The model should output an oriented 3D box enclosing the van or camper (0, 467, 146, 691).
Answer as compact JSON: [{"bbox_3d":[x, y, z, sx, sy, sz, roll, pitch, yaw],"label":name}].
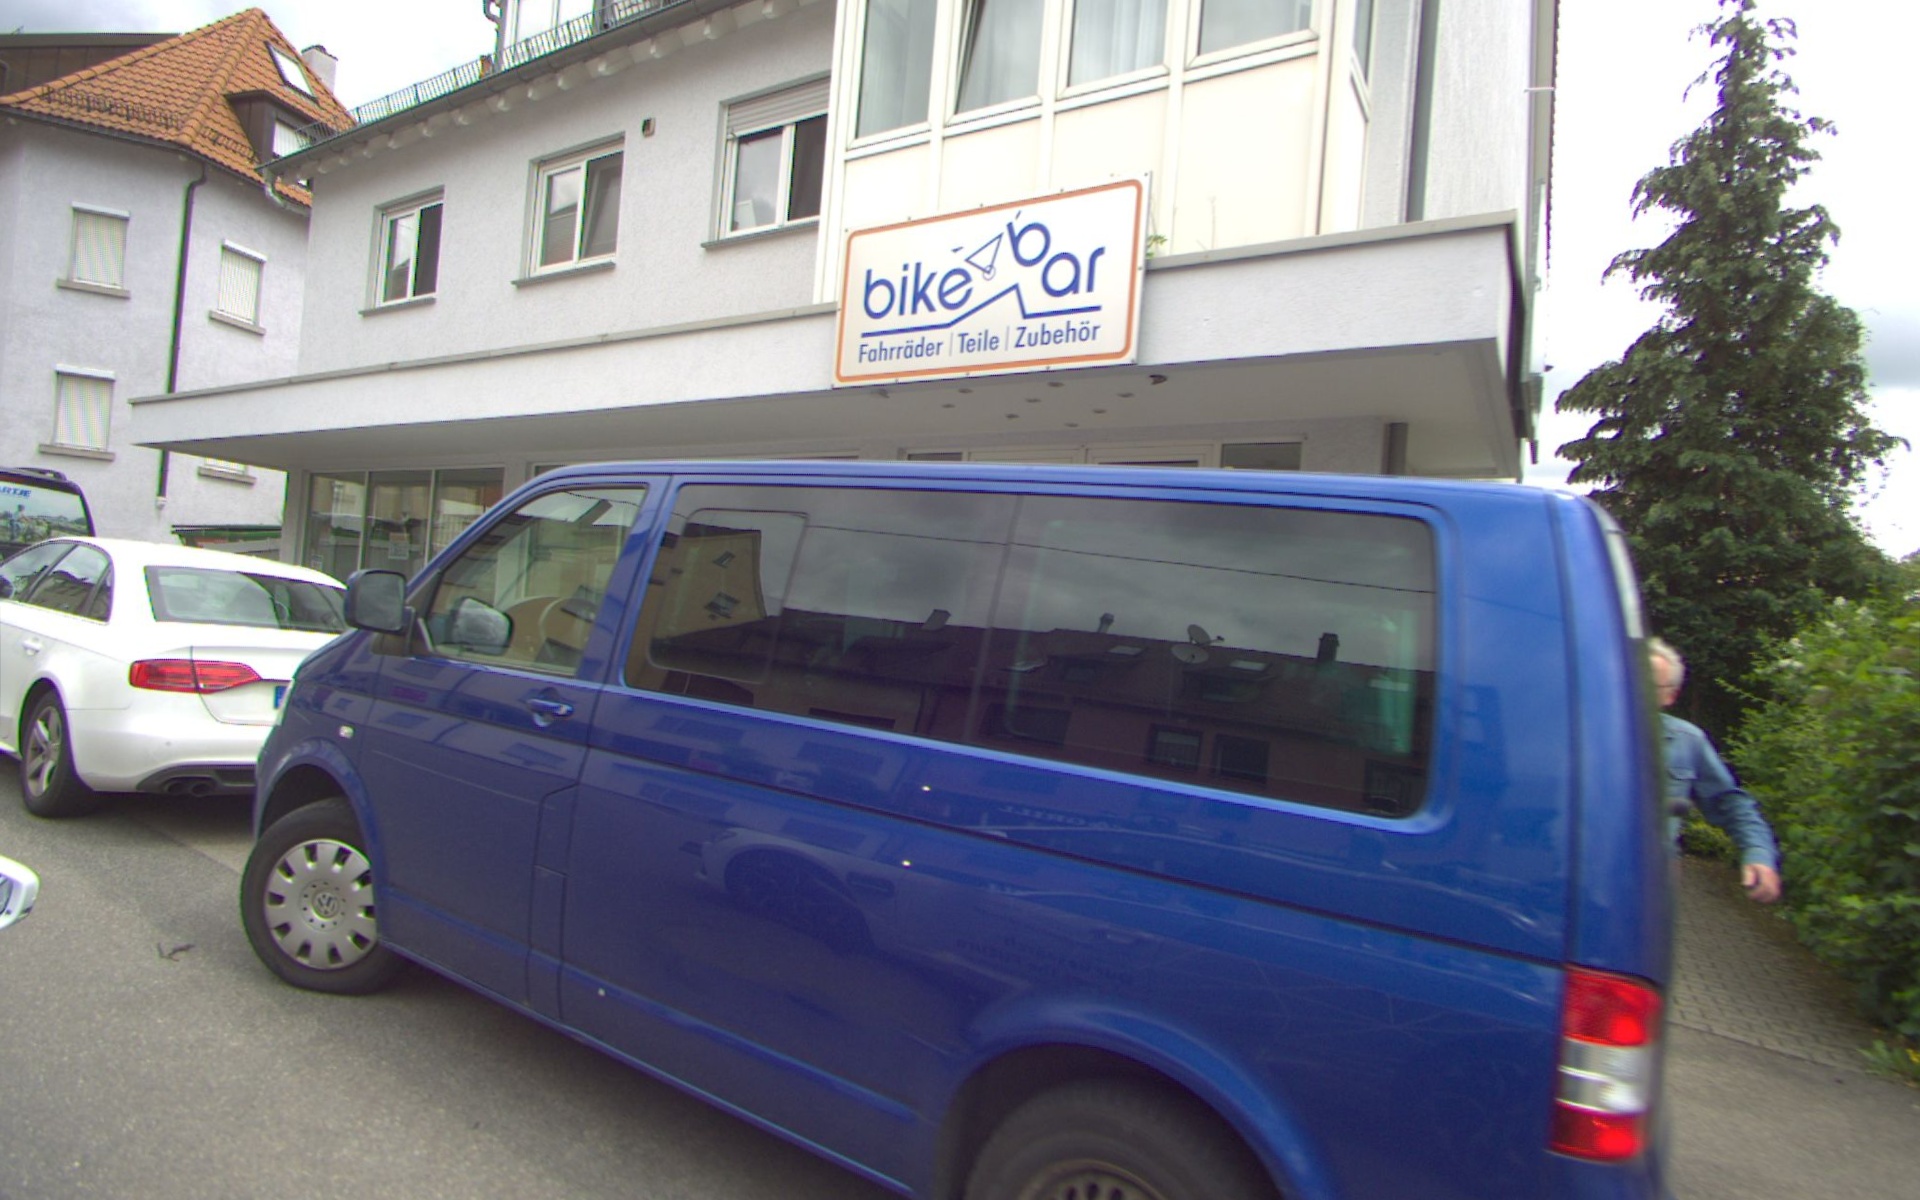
[{"bbox_3d":[-10.035,-0.417,9.653,4.602,1.849,1.875,7,-2,32],"label":"van or camper"}]

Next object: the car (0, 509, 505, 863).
[{"bbox_3d":[-5.127,0.302,6.366,4.562,1.452,1.718,7,-2,32],"label":"car"}]

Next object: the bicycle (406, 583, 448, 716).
[{"bbox_3d":[-5.145,0.445,9.728,0.247,1.127,1.456,5,1,-28],"label":"bicycle"}]

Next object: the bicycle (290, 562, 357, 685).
[{"bbox_3d":[-6.685,0.209,10.608,0.433,1.127,1.712,5,1,-30],"label":"bicycle"}]

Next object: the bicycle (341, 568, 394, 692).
[{"bbox_3d":[-6.109,0.272,10.401,0.294,1.127,1.564,5,1,-27],"label":"bicycle"}]

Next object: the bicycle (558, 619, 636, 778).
[{"bbox_3d":[-3.091,0.787,8.510,0.335,1.127,1.456,5,1,-28],"label":"bicycle"}]

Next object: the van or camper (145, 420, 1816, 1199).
[{"bbox_3d":[-0.493,0.607,3.424,4.750,1.948,1.930,7,-1,31],"label":"van or camper"}]

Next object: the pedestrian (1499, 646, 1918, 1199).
[{"bbox_3d":[2.467,1.089,3.348,0.861,1.746,0.616,7,0,-23],"label":"pedestrian"}]

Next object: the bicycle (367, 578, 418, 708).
[{"bbox_3d":[-5.638,0.393,10.025,0.247,1.174,1.458,5,0,-26],"label":"bicycle"}]

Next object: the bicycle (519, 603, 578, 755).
[{"bbox_3d":[-3.569,0.639,8.681,0.247,1.127,1.456,5,1,-28],"label":"bicycle"}]
